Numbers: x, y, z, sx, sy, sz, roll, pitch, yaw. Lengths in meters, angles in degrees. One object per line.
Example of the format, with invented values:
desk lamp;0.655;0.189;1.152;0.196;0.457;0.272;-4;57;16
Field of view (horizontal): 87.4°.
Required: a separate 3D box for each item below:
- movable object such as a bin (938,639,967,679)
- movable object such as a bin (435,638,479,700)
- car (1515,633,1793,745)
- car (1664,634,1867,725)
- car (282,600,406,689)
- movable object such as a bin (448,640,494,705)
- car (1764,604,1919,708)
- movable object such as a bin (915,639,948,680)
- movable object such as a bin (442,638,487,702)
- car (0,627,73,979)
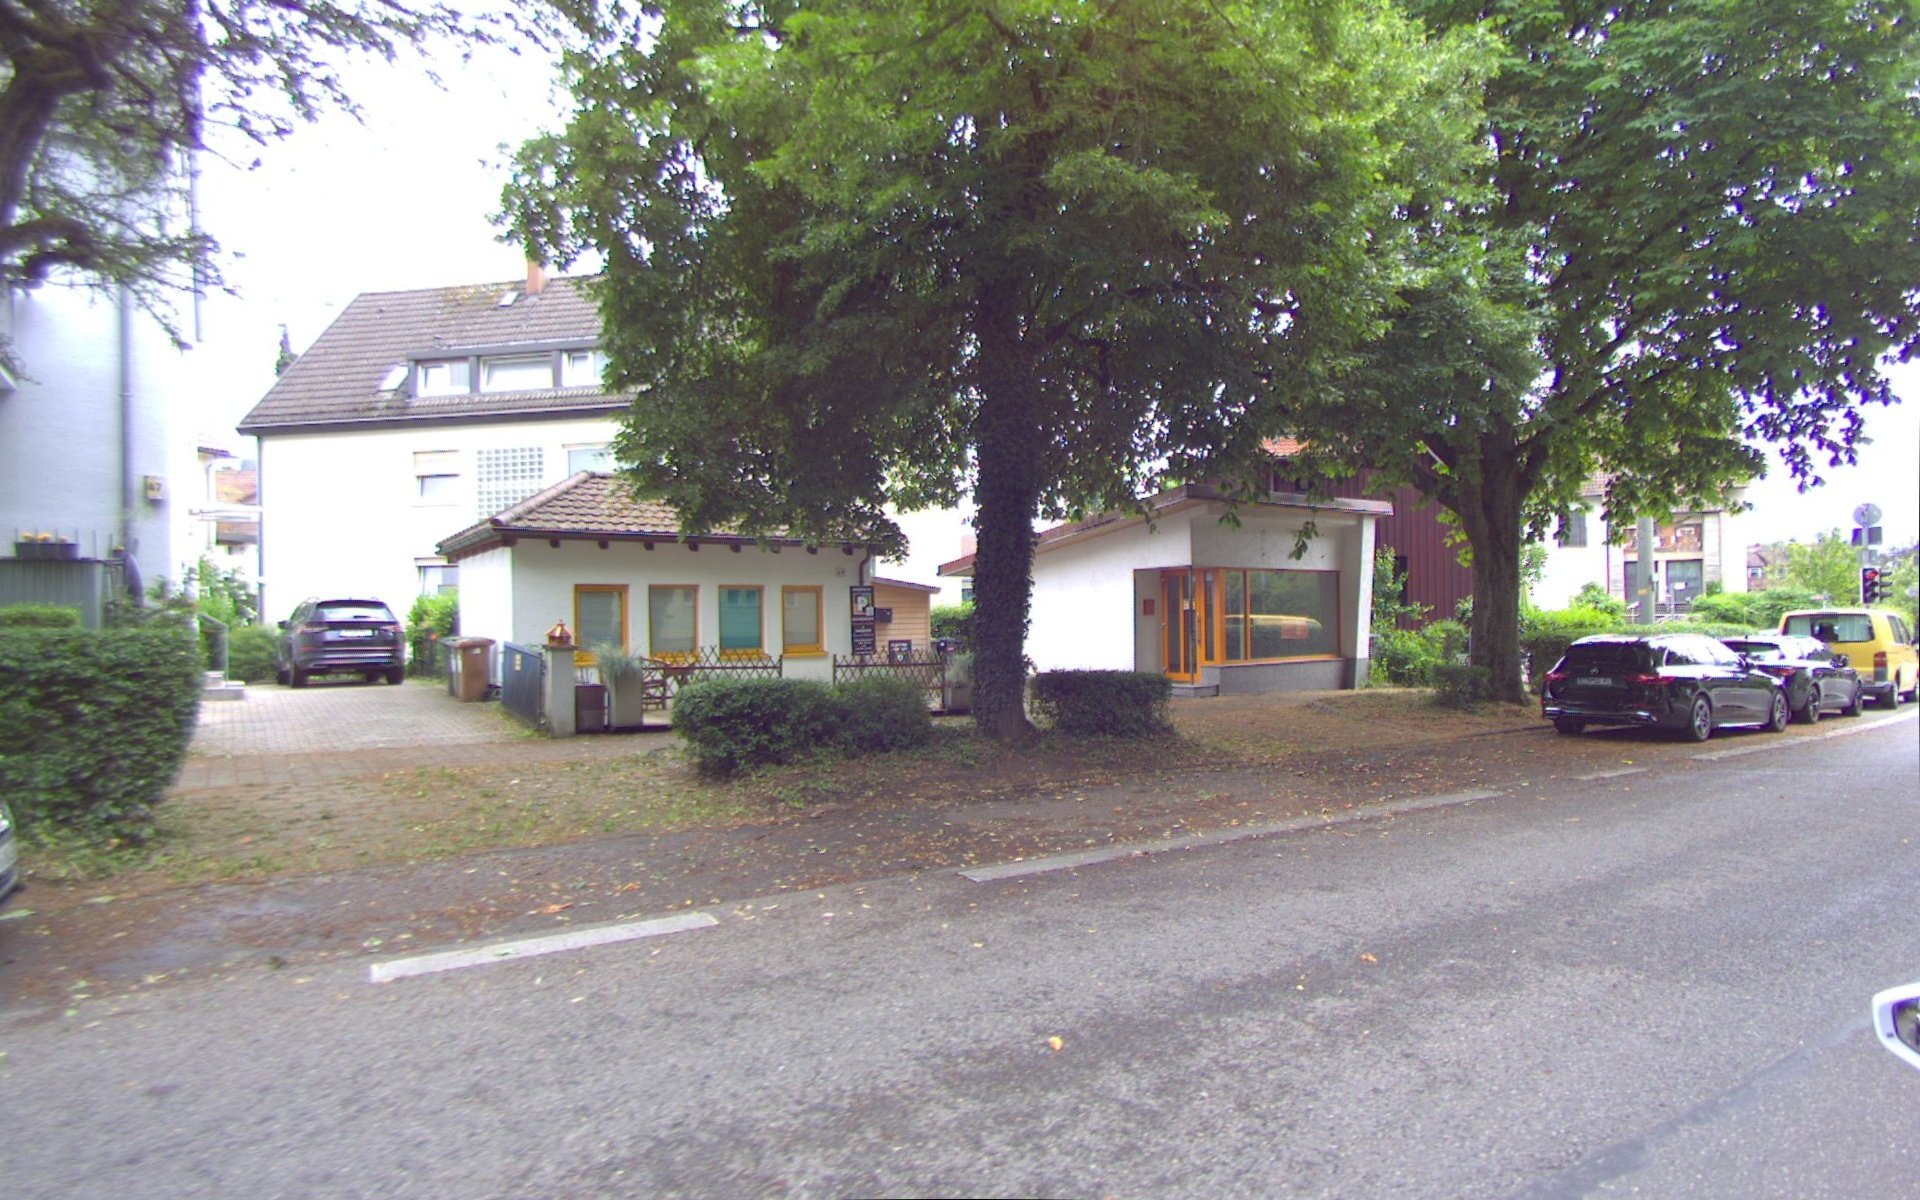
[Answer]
movable object such as a bin;-0.183;1.428;24.380;0.483;0.942;0.519;1;0;-35
movable object such as a bin;-7.965;1.079;15.909;0.568;0.935;0.484;1;0;-32
car;10.298;1.223;14.807;4.507;1.429;1.880;2;-3;-34
car;14.431;1.336;17.934;4.148;1.434;1.782;1;-3;-36
car;-11.996;0.779;19.450;1.718;1.530;3.958;1;-1;-36
movable object such as a bin;-7.338;1.073;15.072;0.568;0.935;0.484;1;0;-32
car;18.845;1.175;21.392;4.468;1.989;1.842;2;-3;-40
movable object such as a bin;-0.689;1.423;24.102;0.613;0.942;0.519;1;0;-35
movable object such as a bin;-7.647;1.064;15.490;0.568;0.935;0.484;1;0;-32
car;-6.044;0.805;3.180;4.596;1.429;1.784;1;-3;-34
